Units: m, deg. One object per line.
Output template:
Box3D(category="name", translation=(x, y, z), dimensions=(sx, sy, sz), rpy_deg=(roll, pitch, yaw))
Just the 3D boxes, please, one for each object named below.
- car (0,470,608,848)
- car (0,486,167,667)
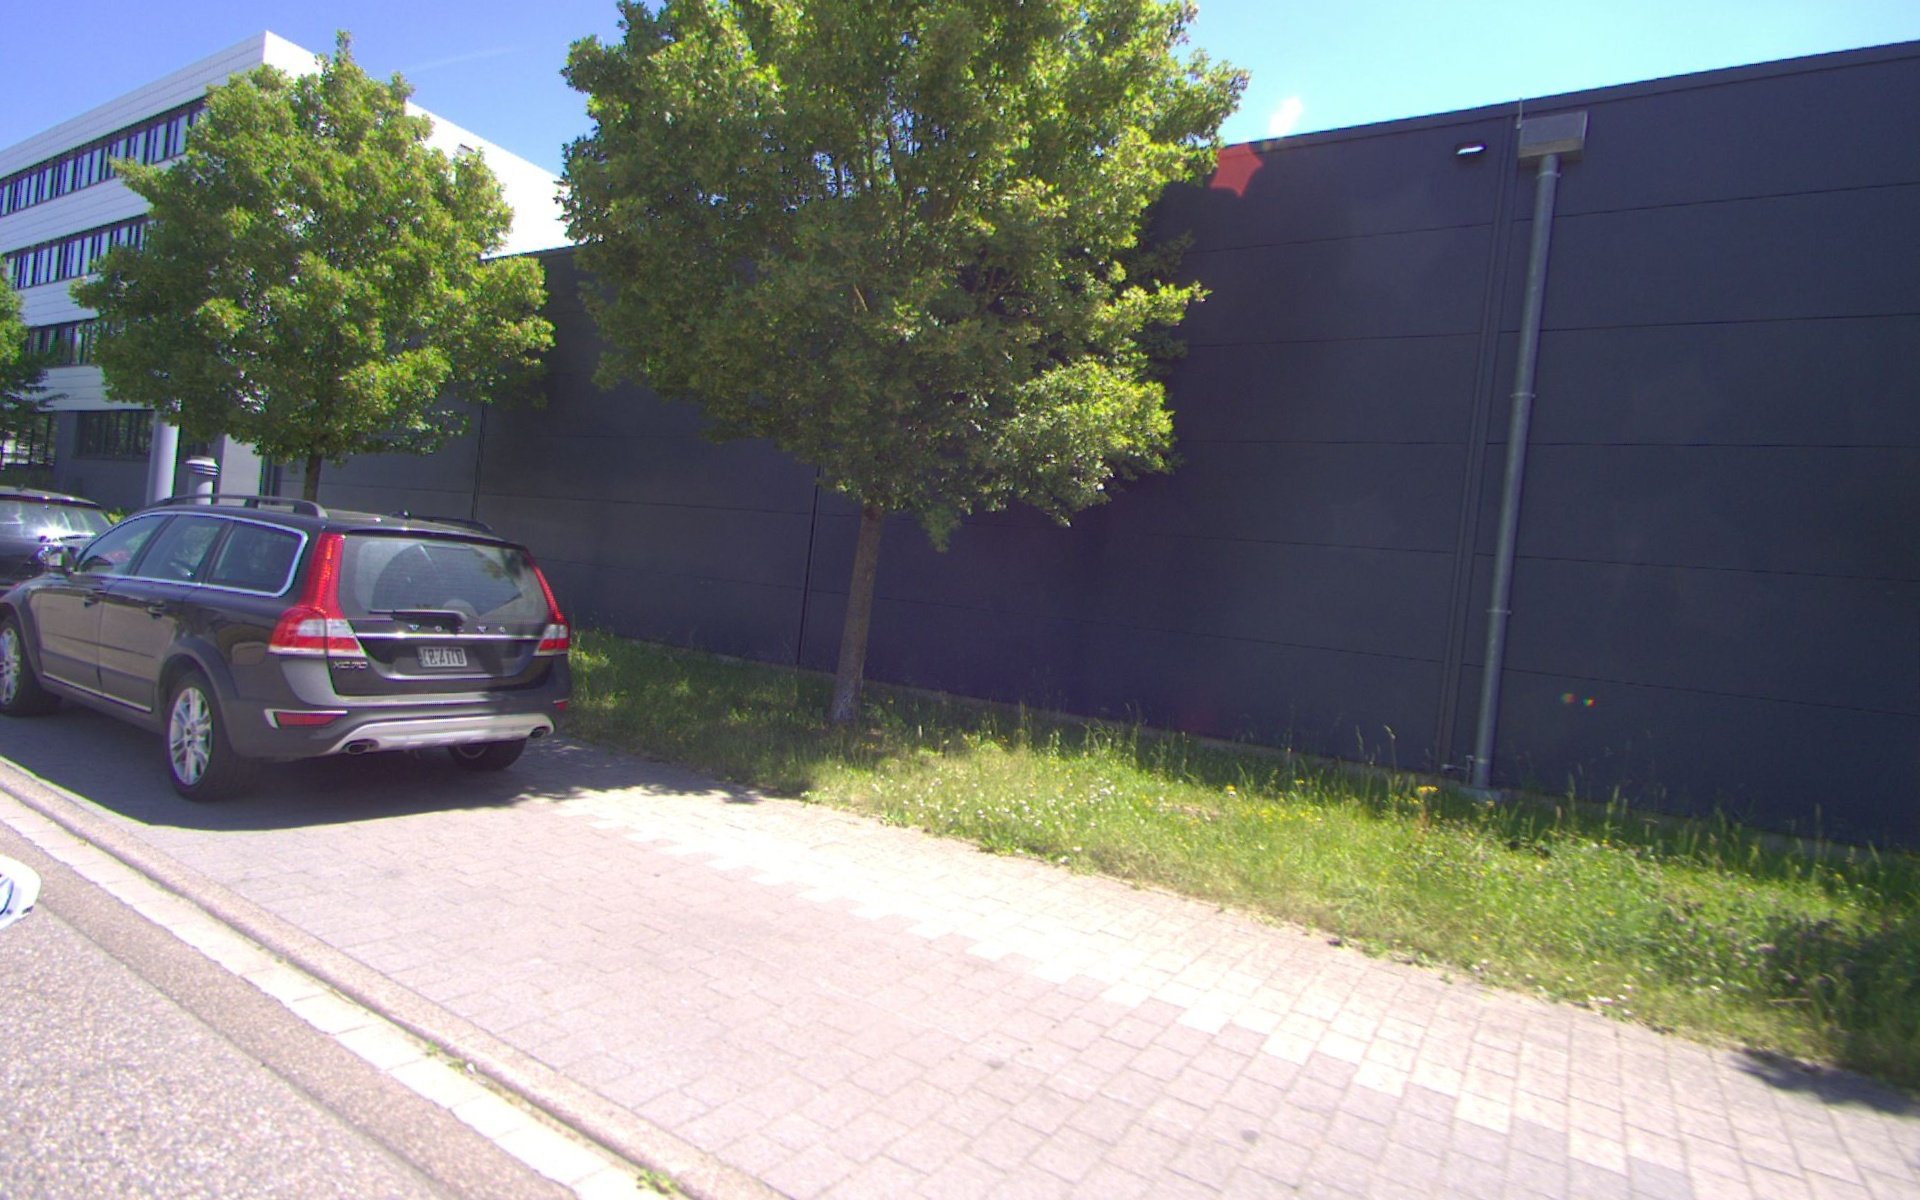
Box3D(category="car", translation=(-4.652, 0.147, 6.611), dimensions=(4.636, 1.639, 1.808), rpy_deg=(7, 1, 31))
Box3D(category="car", translation=(-9.594, -0.379, 9.672), dimensions=(4.198, 1.495, 1.693), rpy_deg=(7, 1, 31))
